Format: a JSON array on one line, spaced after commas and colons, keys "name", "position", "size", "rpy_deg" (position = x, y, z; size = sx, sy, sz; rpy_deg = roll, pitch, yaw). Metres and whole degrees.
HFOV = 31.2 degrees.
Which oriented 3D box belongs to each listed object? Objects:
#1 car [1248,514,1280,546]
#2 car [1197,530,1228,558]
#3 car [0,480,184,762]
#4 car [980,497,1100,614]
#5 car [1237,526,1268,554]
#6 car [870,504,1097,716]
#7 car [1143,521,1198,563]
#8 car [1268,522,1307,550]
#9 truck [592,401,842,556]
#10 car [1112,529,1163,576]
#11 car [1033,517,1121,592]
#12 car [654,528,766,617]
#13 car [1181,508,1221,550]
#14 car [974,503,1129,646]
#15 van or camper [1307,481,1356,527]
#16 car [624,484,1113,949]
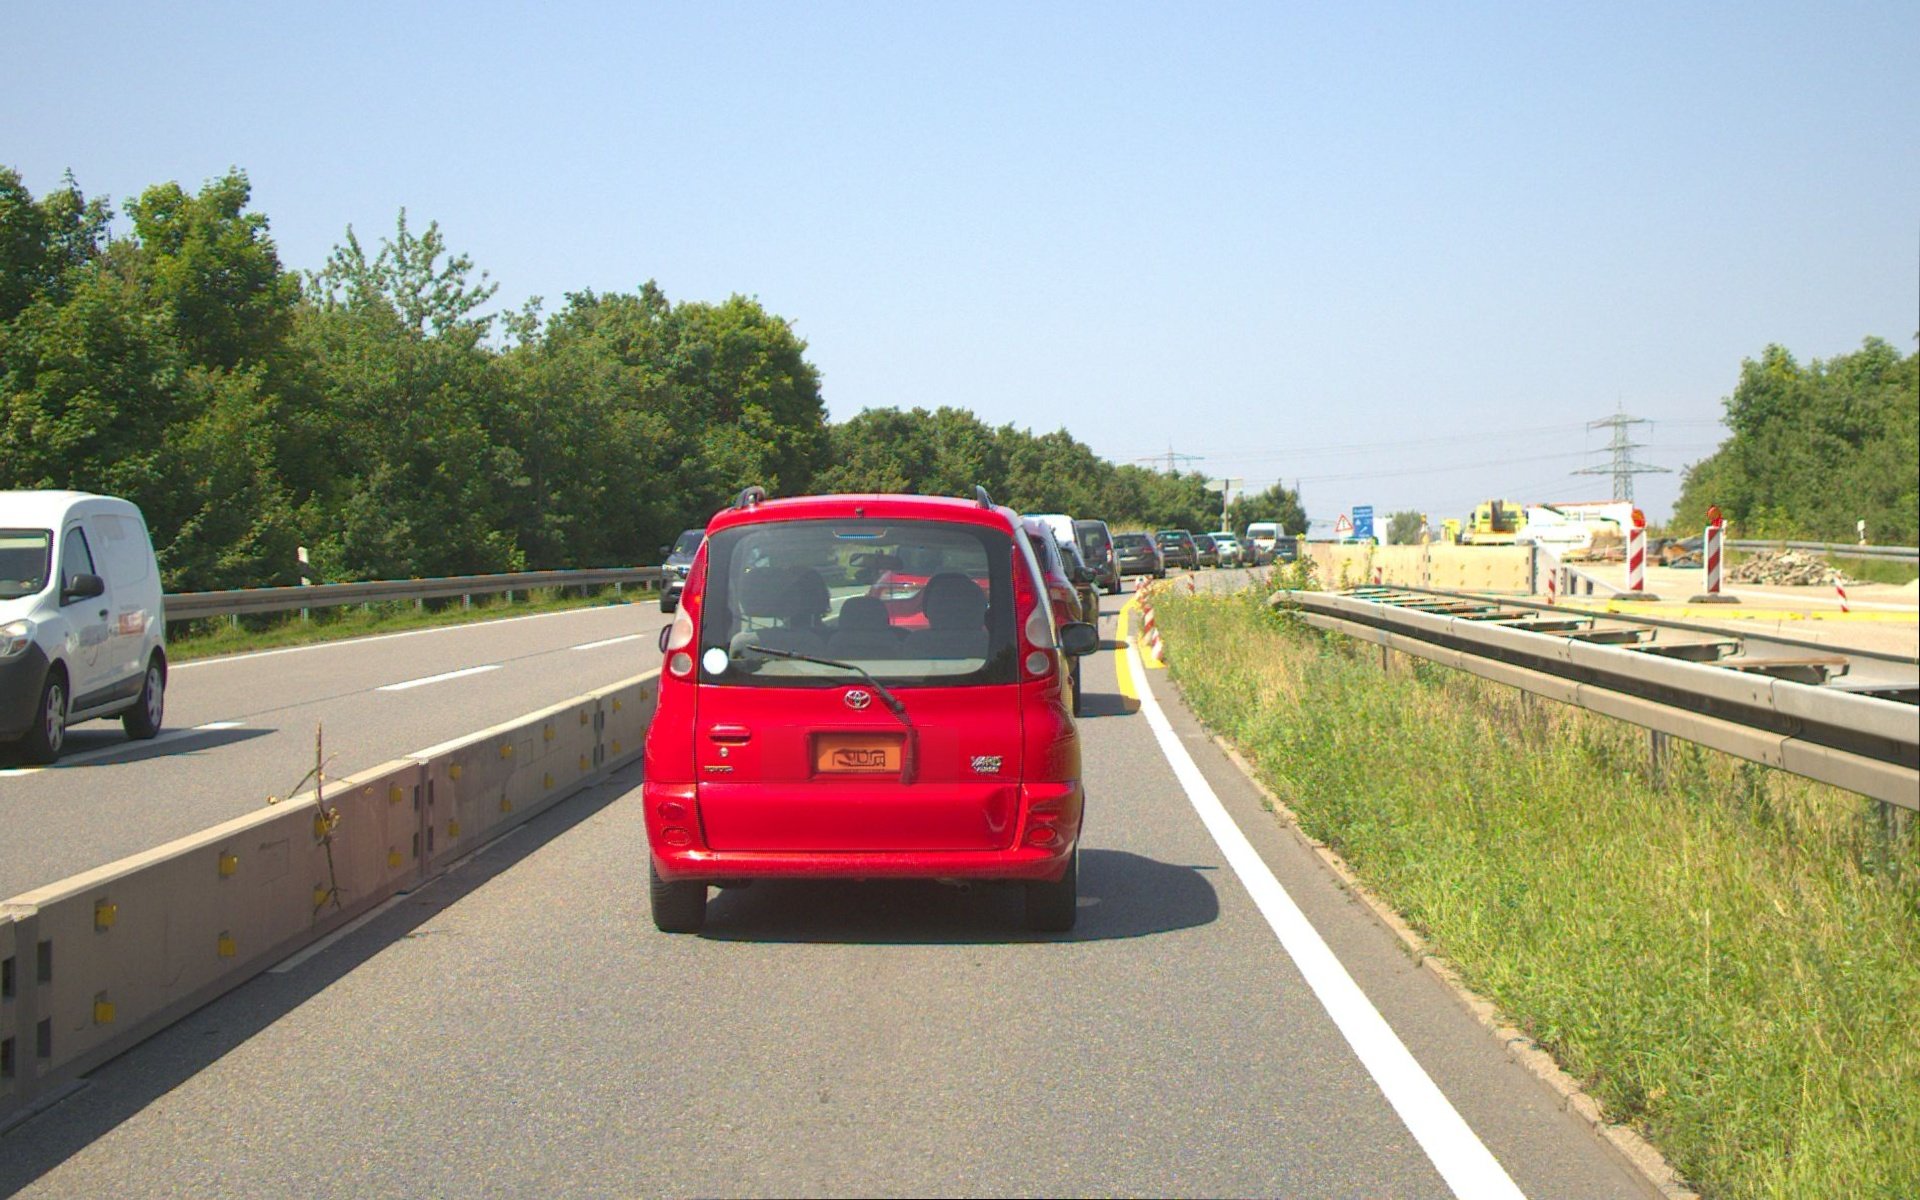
[{"name": "car", "position": [19.476, -4.480, 220.263], "size": [1.994, 2.007, 4.000], "rpy_deg": [-1, 1, 5]}, {"name": "car", "position": [11.832, -2.608, 161.053], "size": [1.421, 1.294, 2.879], "rpy_deg": [0, 1, 4]}, {"name": "car", "position": [-6.664, 0.092, 23.549], "size": [1.755, 1.759, 4.285], "rpy_deg": [0, 1, -1]}, {"name": "car", "position": [1.386, -0.808, 61.141], "size": [1.993, 1.997, 4.000], "rpy_deg": [1, 1, 0]}, {"name": "car", "position": [14.922, -3.075, 175.418], "size": [1.502, 1.446, 3.170], "rpy_deg": [0, 1, 4]}, {"name": "car", "position": [0.245, 0.038, 29.862], "size": [1.830, 1.716, 4.000], "rpy_deg": [0, 1, 2]}, {"name": "car", "position": [8.078, -2.238, 131.806], "size": [1.994, 1.579, 3.999], "rpy_deg": [0, 1, 5]}, {"name": "car", "position": [19.040, -3.726, 199.964], "size": [1.993, 1.546, 4.000], "rpy_deg": [-1, 1, 1]}, {"name": "truck", "position": [-8.805, -4.397, 125.275], "size": [8.621, 5.357, 3.389], "rpy_deg": [-1, 1, 3]}, {"name": "car", "position": [5.506, -1.493, 106.896], "size": [1.502, 1.446, 3.325], "rpy_deg": [0, 1, 2]}, {"name": "car", "position": [2.778, -1.104, 82.275], "size": [1.993, 1.744, 4.000], "rpy_deg": [0, 1, 1]}, {"name": "car", "position": [-4.810, -0.560, 66.643], "size": [1.857, 1.632, 4.385], "rpy_deg": [-1, 1, -1]}, {"name": "car", "position": [10.176, -2.997, 145.206], "size": [1.502, 1.730, 3.170], "rpy_deg": [-1, 1, 2]}, {"name": "car", "position": [1.222, -0.366, 46.170], "size": [1.993, 1.831, 4.000], "rpy_deg": [0, 1, 1]}, {"name": "van or camper", "position": [22.159, -5.718, 205.065], "size": [2.328, 2.697, 4.593], "rpy_deg": [-1, 1, -1]}, {"name": "car", "position": [-0.335, 0.382, 14.336], "size": [1.751, 1.667, 4.000], "rpy_deg": [0, 1, 0]}]
